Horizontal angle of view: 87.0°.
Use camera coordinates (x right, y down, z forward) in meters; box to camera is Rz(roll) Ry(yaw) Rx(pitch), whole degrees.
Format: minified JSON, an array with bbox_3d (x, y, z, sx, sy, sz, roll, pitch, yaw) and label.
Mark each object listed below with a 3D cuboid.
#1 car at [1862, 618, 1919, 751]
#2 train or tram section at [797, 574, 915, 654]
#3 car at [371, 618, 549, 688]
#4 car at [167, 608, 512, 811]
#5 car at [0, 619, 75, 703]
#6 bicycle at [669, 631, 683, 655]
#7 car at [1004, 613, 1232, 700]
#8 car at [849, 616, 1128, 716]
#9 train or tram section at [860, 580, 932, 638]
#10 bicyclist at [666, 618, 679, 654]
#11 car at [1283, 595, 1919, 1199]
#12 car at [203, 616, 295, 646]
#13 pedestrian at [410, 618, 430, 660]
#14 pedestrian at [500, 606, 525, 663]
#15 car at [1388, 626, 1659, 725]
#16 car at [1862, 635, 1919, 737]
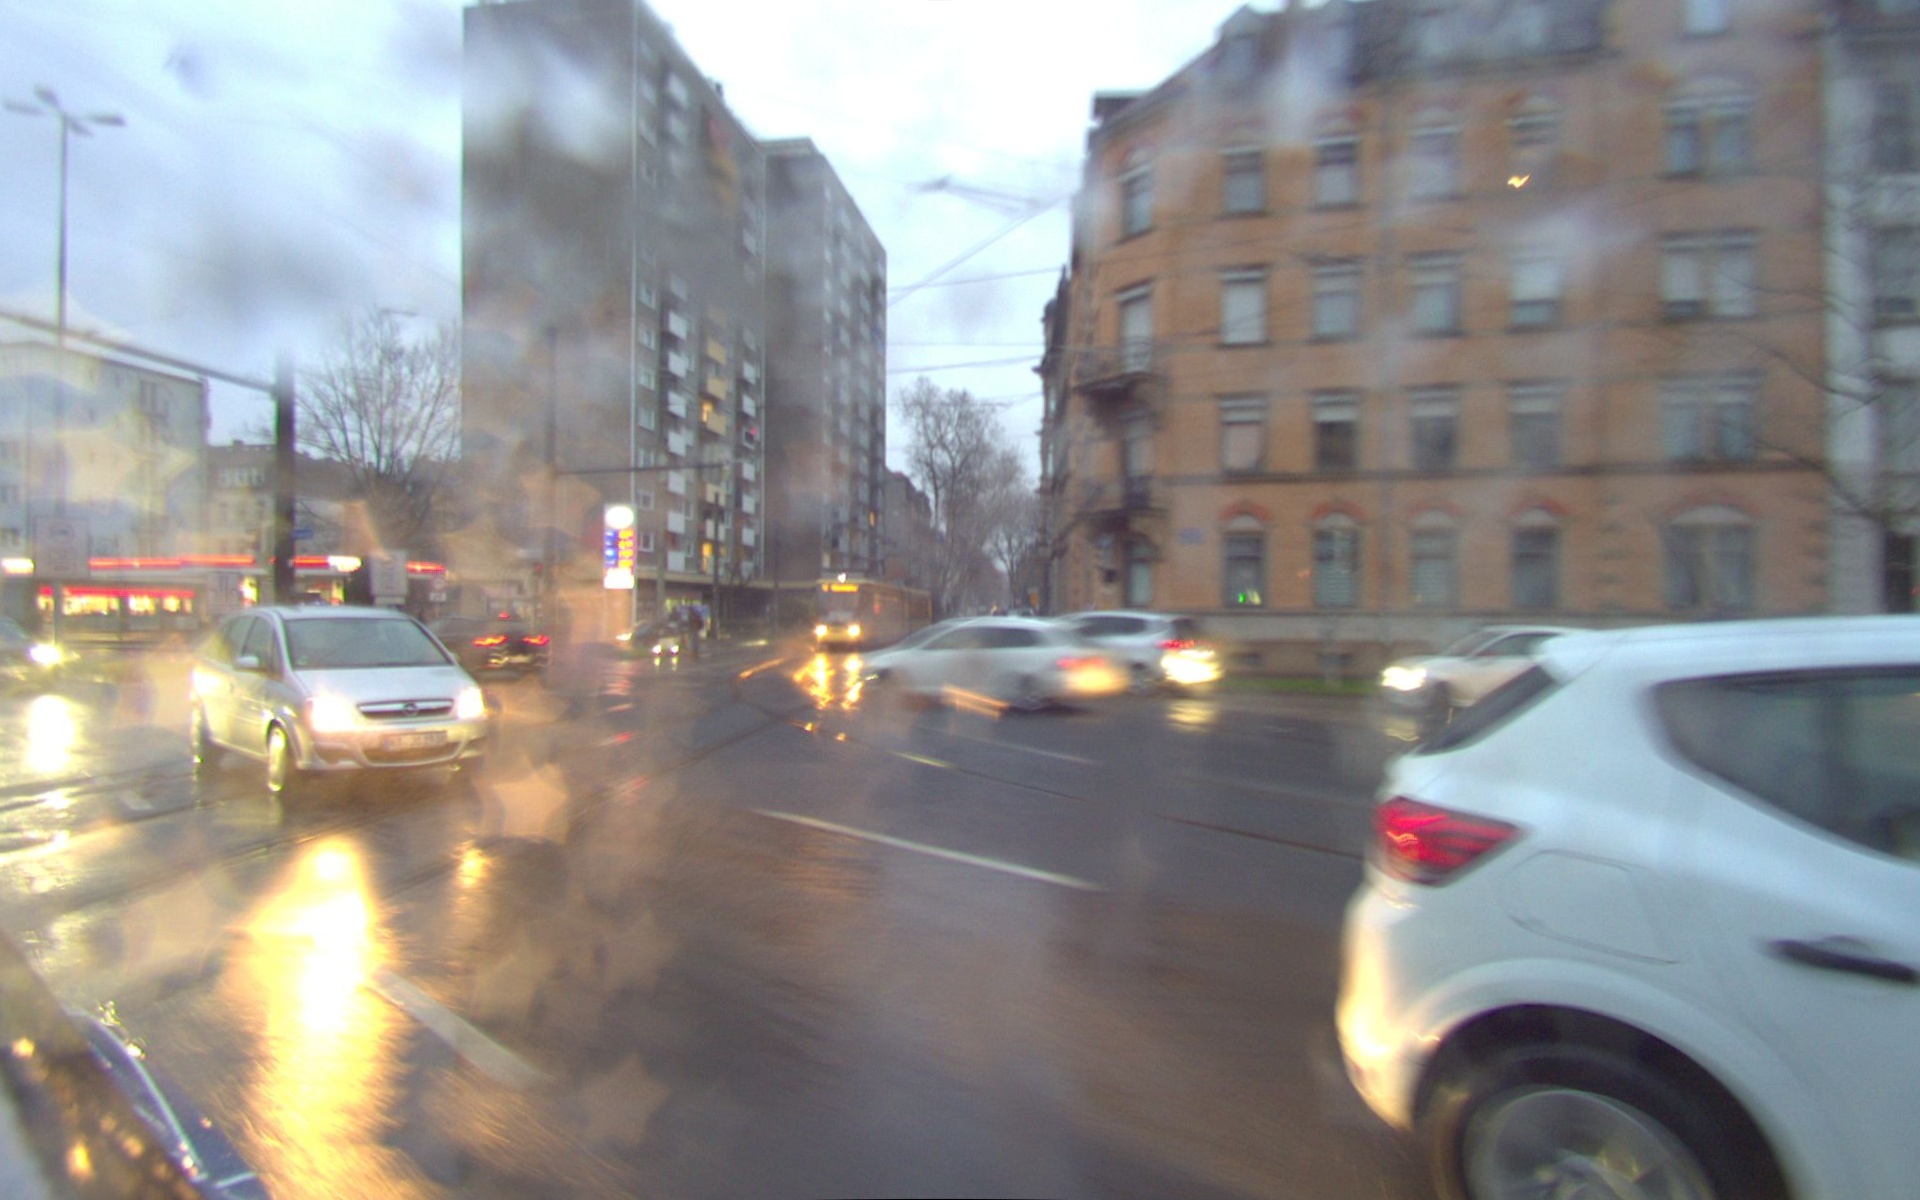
[{"bbox_3d":[12.531,0.967,11.426,3.130,1.498,1.481,0,-1,21],"label":"car"},{"bbox_3d":[-4.542,0.560,48.850,3.128,3.212,16.292,0,0,3],"label":"train or tram section"},{"bbox_3d":[-11.415,1.154,23.063,4.046,1.468,1.668,0,-1,30],"label":"car"},{"bbox_3d":[-6.086,0.862,9.736,4.106,1.560,1.628,0,-1,40],"label":"car"},{"bbox_3d":[-19.325,1.154,19.899,3.985,1.556,1.736,-1,-2,31],"label":"car"},{"bbox_3d":[-11.244,1.692,40.124,0.498,0.907,1.990,0,-1,-15],"label":"bicycle"},{"bbox_3d":[3.053,1.044,20.047,4.224,1.537,1.663,-1,-2,40],"label":"car"},{"bbox_3d":[0.464,1.018,16.718,4.306,1.468,1.673,0,-1,23],"label":"car"},{"bbox_3d":[-3.781,0.486,62.538,3.128,3.262,11.139,0,0,3],"label":"train or tram section"},{"bbox_3d":[-11.432,1.416,40.244,0.498,1.401,0.972,0,-1,-15],"label":"bicyclist"},{"bbox_3d":[2.772,0.736,1.618,4.001,1.498,1.608,-2,-2,44],"label":"car"},{"bbox_3d":[-37.255,1.617,53.139,1.758,1.542,3.992,0,-1,6],"label":"car"},{"bbox_3d":[-23.235,1.680,43.542,0.525,1.806,0.628,0,-1,0],"label":"pedestrian"},{"bbox_3d":[-14.135,1.073,31.960,0.627,1.785,0.463,0,-1,34],"label":"pedestrian"},{"bbox_3d":[8.818,1.142,16.198,3.590,1.402,1.673,0,-1,23],"label":"car"},{"bbox_3d":[15.272,1.189,13.587,4.354,1.364,1.675,0,-1,20],"label":"car"}]
